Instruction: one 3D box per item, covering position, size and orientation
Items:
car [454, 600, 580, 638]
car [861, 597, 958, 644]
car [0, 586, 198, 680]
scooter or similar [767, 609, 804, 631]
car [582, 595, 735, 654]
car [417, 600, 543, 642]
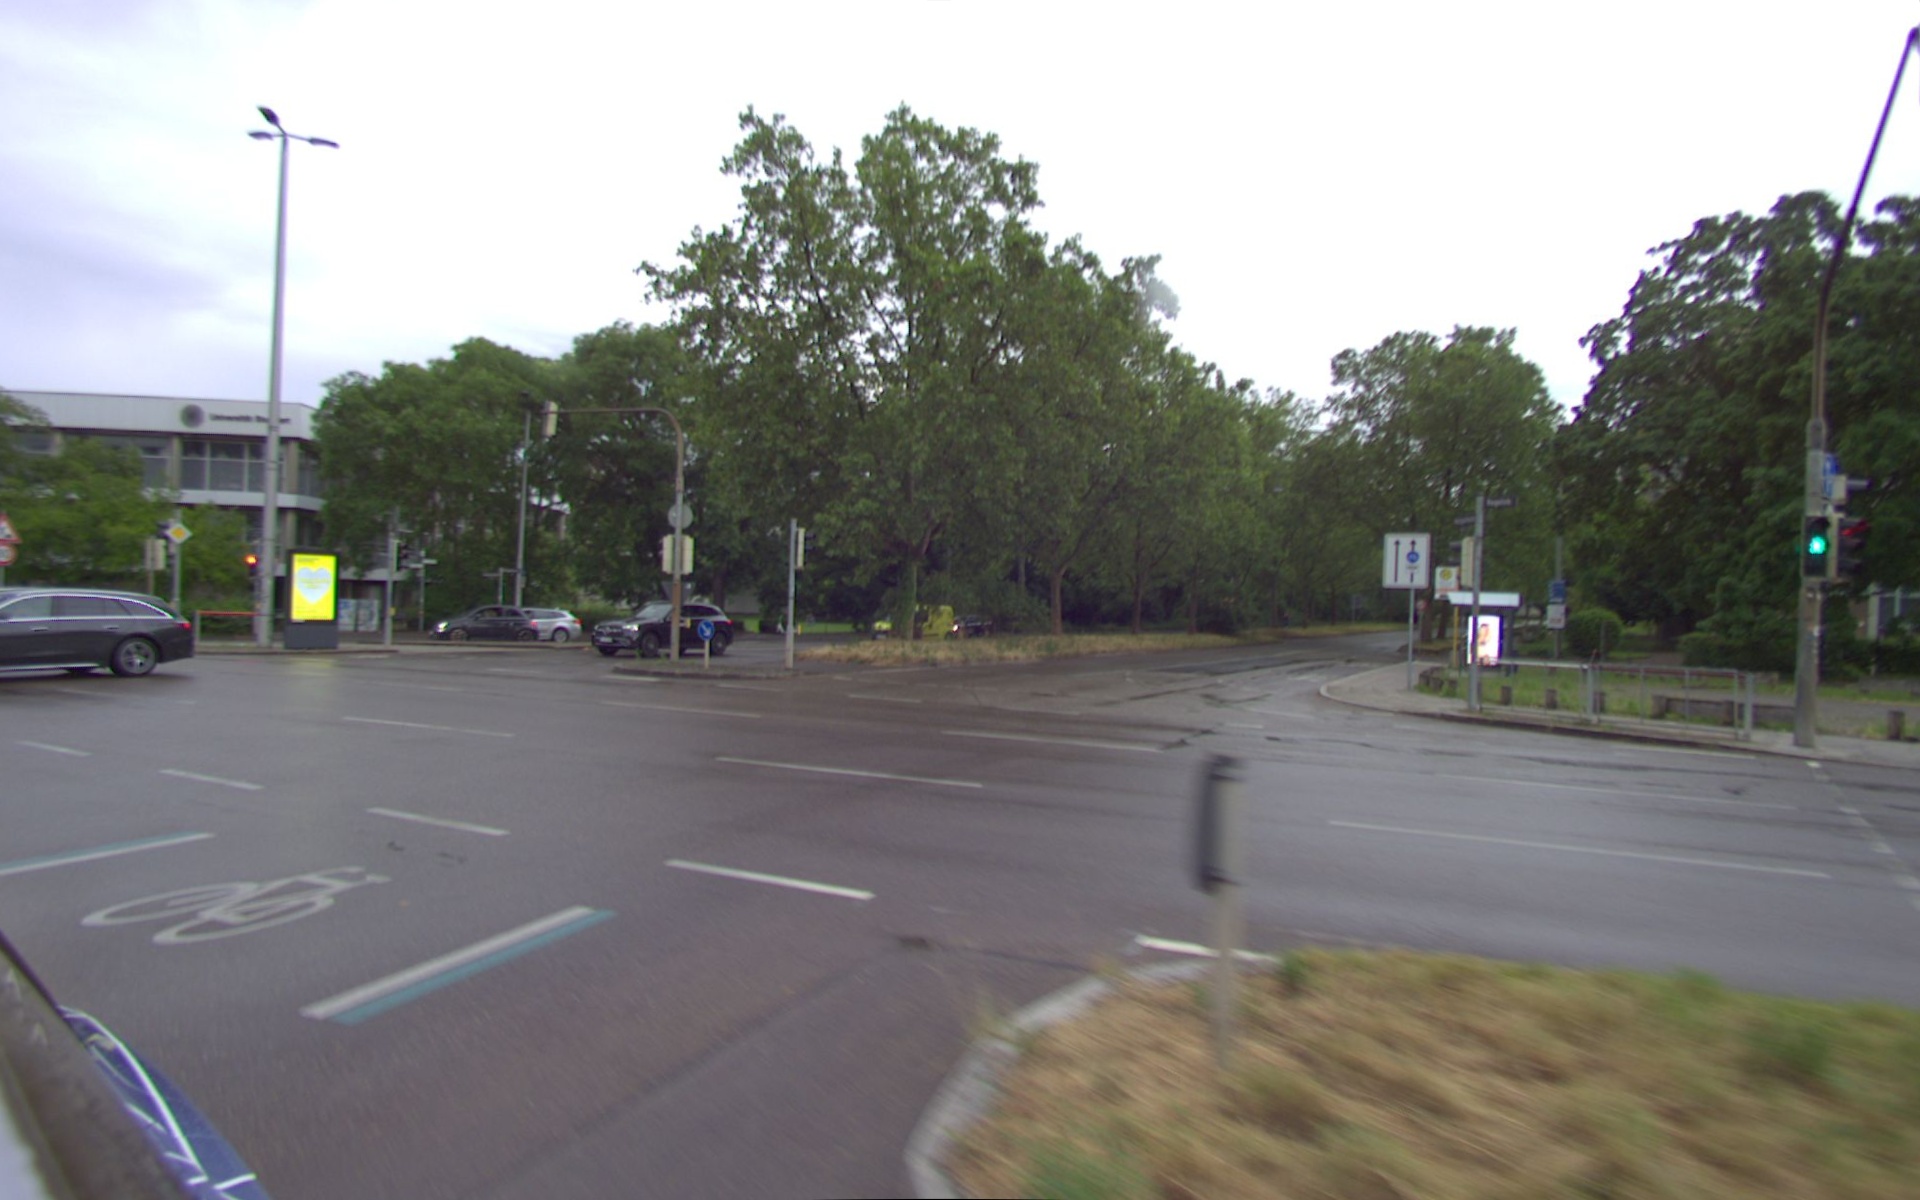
[{"bbox_3d":[-17.910,0.781,41.025,4.334,1.461,1.871,2,-1,-40],"label":"car"},{"bbox_3d":[-2.094,0.864,43.267,1.878,1.890,4.692,-1,-2,30],"label":"car"},{"bbox_3d":[-15.497,0.502,16.282,1.874,1.456,4.891,1,-1,23],"label":"car"},{"bbox_3d":[-9.510,1.088,55.159,1.861,1.109,0.559,3,1,-40],"label":"scooter or similar"},{"bbox_3d":[-8.985,0.703,30.541,1.826,1.620,4.534,0,-1,27],"label":"car"},{"bbox_3d":[-17.618,0.769,37.201,3.933,1.461,1.873,2,-1,-35],"label":"car"}]
